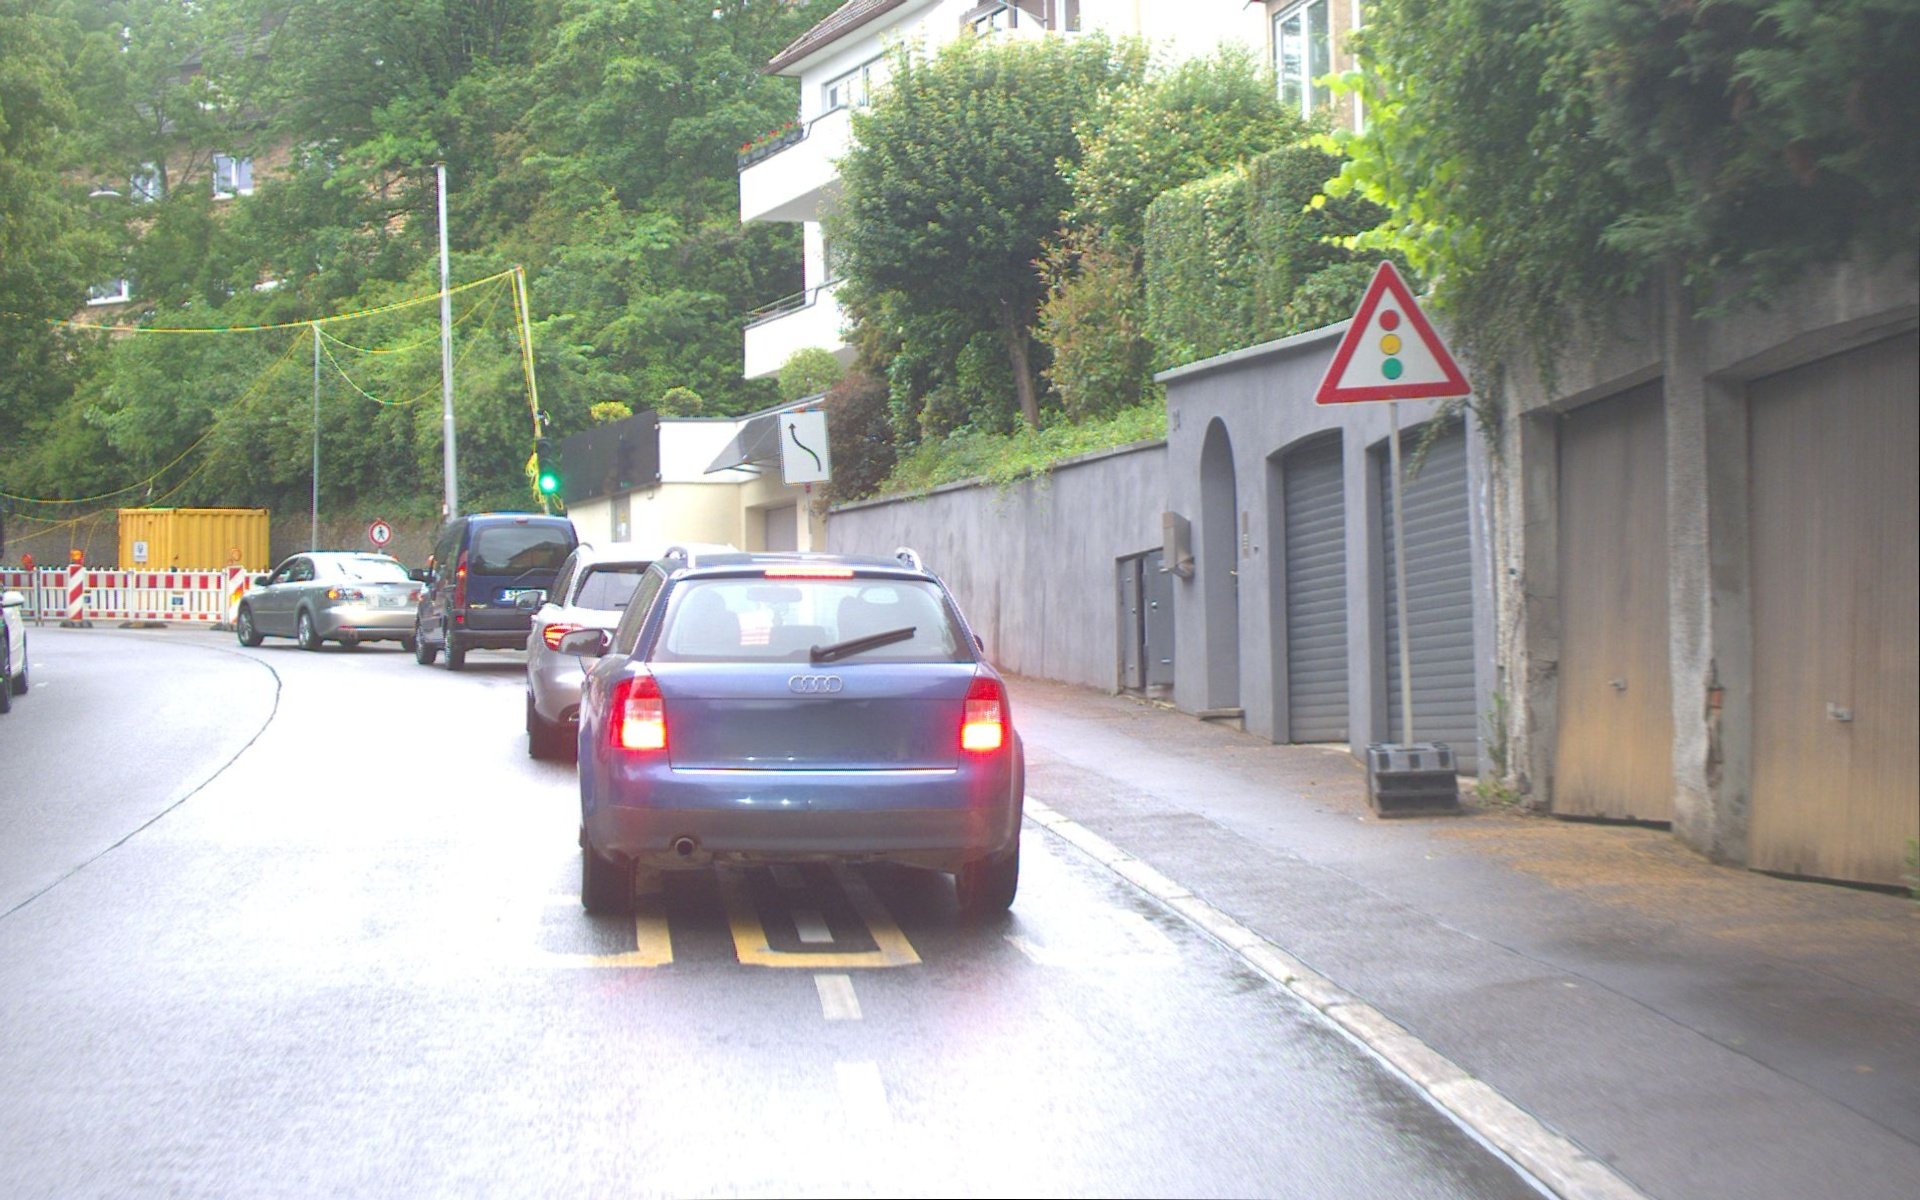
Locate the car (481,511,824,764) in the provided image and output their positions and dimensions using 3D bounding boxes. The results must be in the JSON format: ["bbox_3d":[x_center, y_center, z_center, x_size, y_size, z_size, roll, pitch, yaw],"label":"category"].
[{"bbox_3d":[-2.268,0.183,24.311,1.925,1.612,4.322,0,1,-12],"label":"car"}]

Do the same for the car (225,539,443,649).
[{"bbox_3d":[-9.097,-0.100,49.762,1.721,1.481,4.076,-3,2,-31],"label":"car"}]

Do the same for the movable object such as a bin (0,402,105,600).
[{"bbox_3d":[-21.298,-2.083,72.691,7.322,4.000,2.821,1,2,45],"label":"movable object such as a bin"}]

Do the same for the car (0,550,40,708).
[{"bbox_3d":[-10.587,0.309,35.478,1.681,1.503,4.317,-4,2,-10],"label":"car"}]

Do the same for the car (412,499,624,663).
[{"bbox_3d":[-5.331,-0.252,41.073,1.993,1.787,4.001,-2,1,-14],"label":"car"}]

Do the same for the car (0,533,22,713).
[{"bbox_3d":[-9.471,0.288,30.591,1.681,1.603,4.578,-6,2,-11],"label":"car"}]

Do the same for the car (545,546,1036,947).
[{"bbox_3d":[-0.785,0.507,14.649,1.785,1.437,3.964,-1,1,-5],"label":"car"}]
